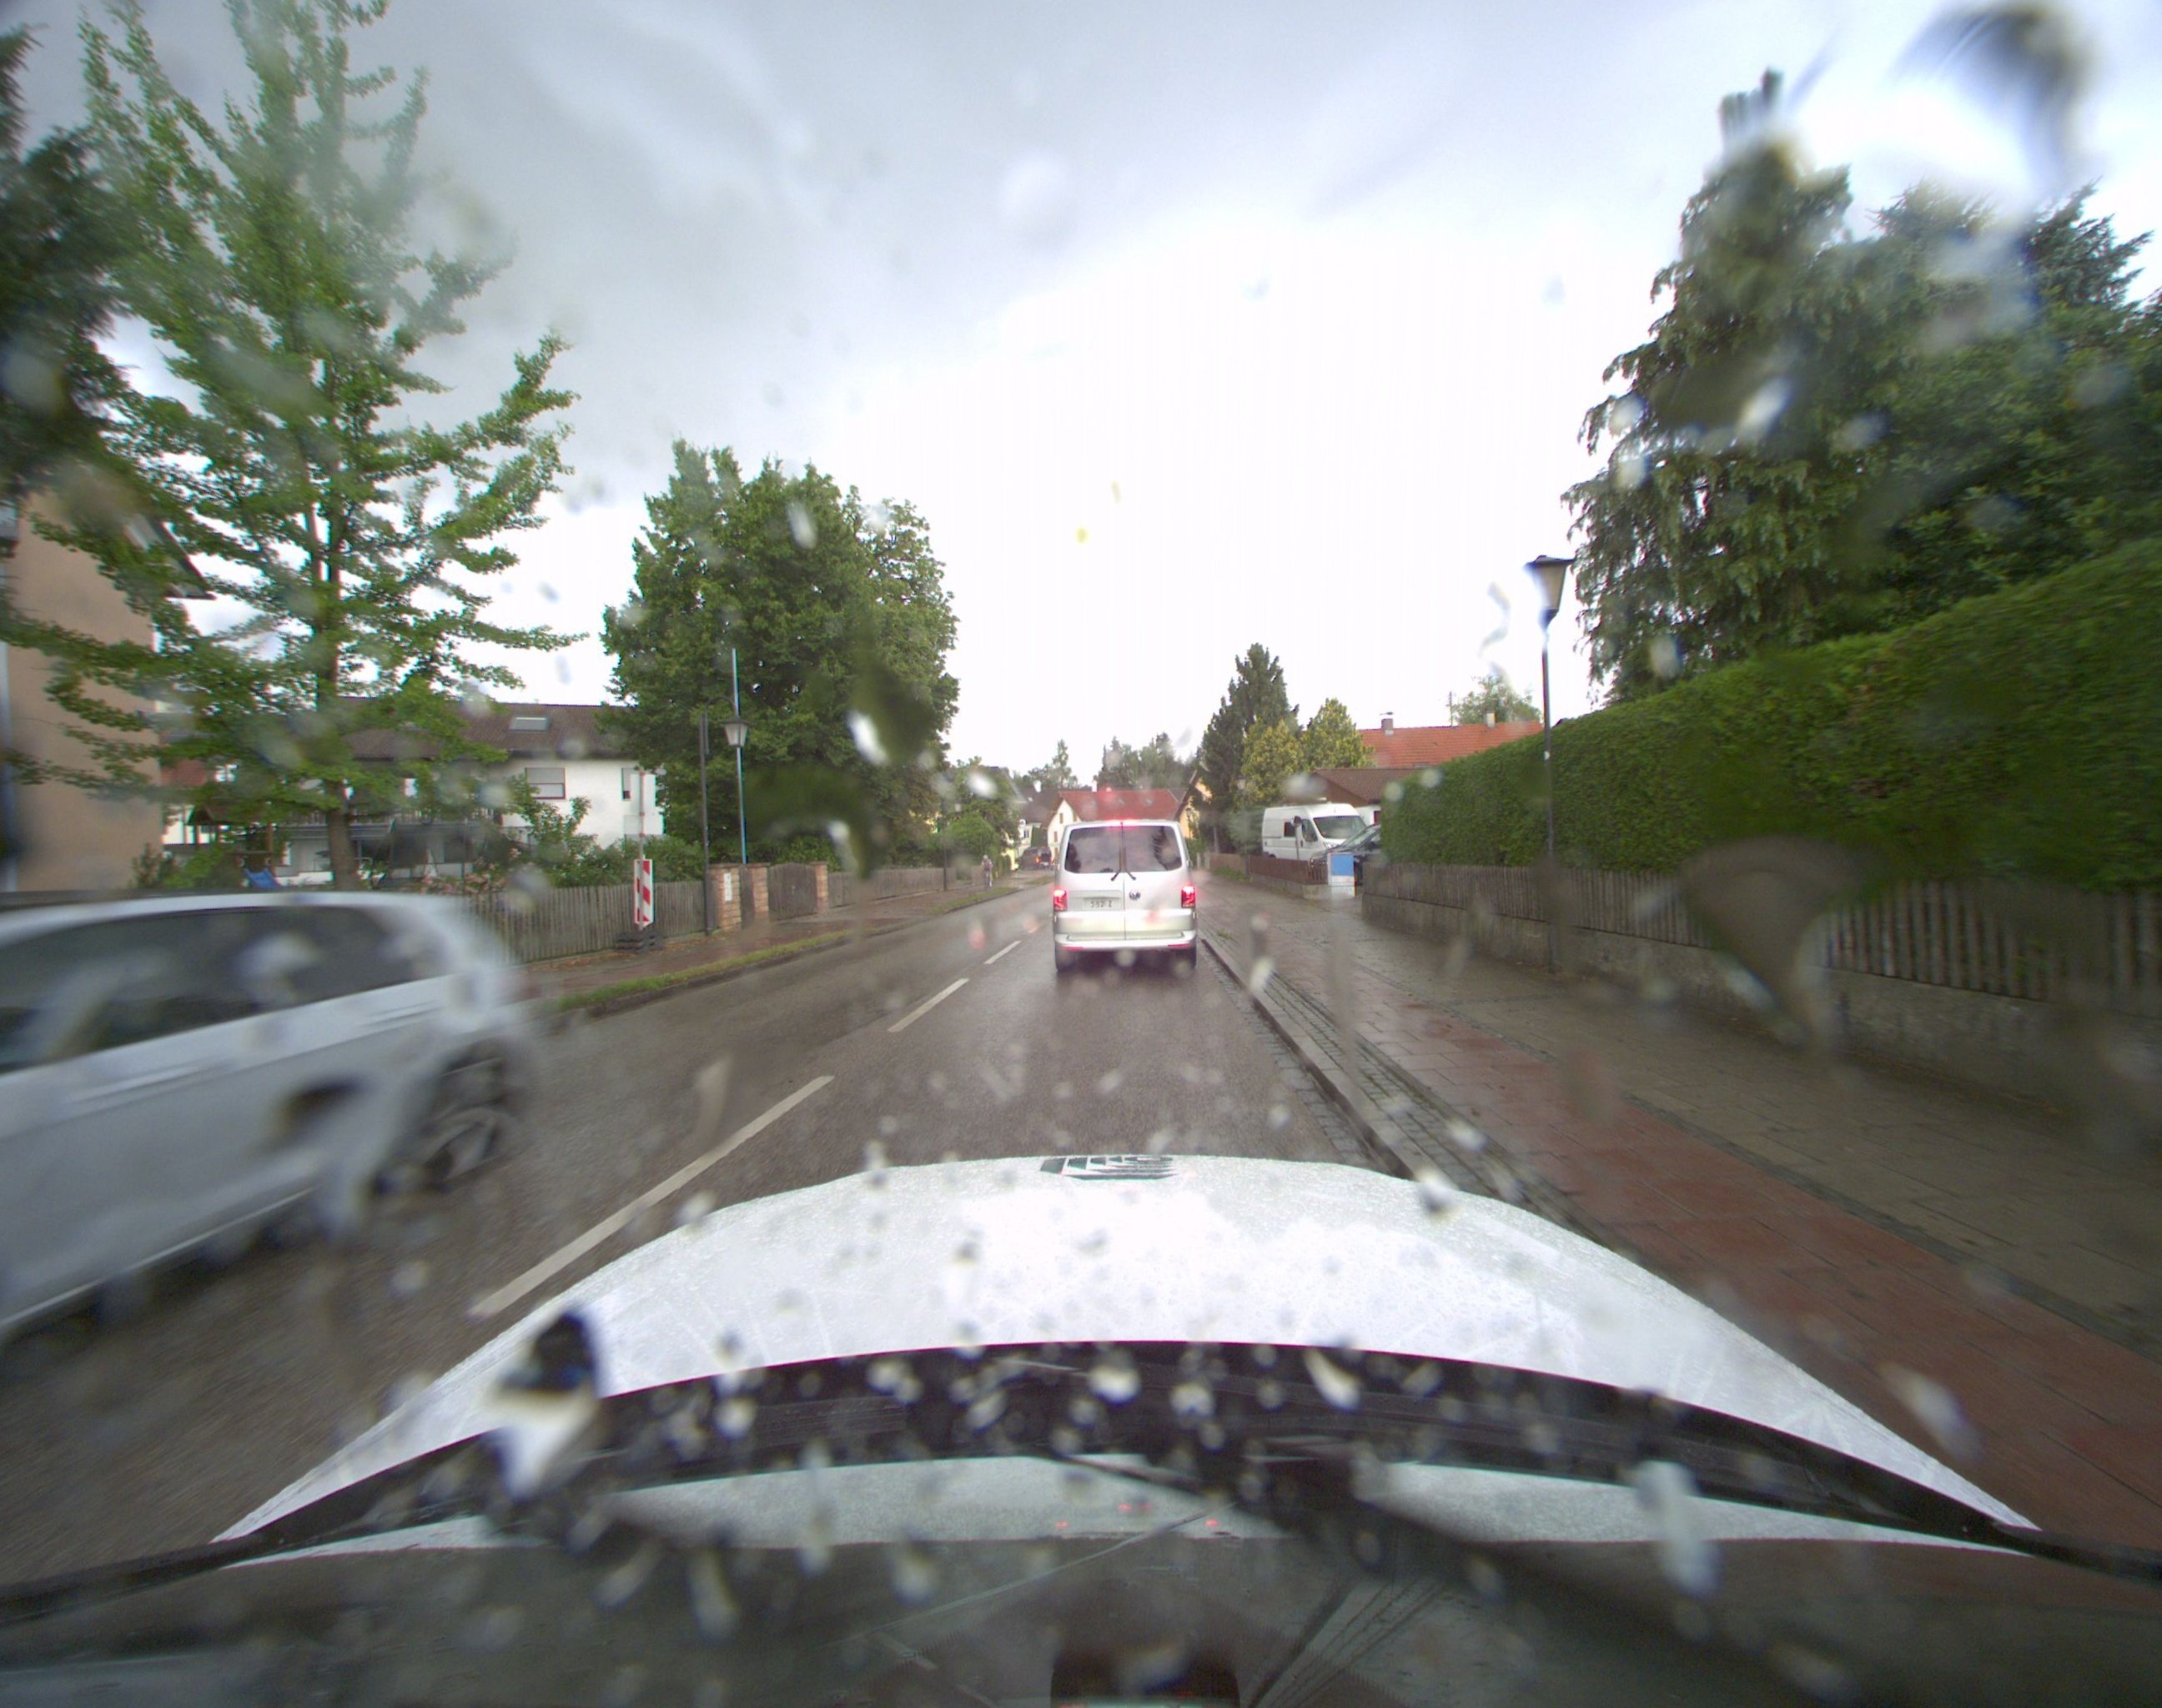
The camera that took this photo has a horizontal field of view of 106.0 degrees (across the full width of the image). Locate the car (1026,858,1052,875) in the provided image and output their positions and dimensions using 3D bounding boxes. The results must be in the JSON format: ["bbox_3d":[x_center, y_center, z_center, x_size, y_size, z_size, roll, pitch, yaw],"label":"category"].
[{"bbox_3d":[-5.007,1.472,97.071,2.000,1.927,3.973,0,-1,-20],"label":"car"}]

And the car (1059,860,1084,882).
[{"bbox_3d":[-0.745,1.306,63.611,1.822,1.558,4.174,-2,-1,-2],"label":"car"}]

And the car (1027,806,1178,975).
[{"bbox_3d":[0.445,0.465,11.739,1.792,2.014,4.006,0,-1,5],"label":"car"}]

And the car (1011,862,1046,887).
[{"bbox_3d":[-3.218,1.255,50.549,1.610,1.444,3.675,-1,-1,5],"label":"car"}]

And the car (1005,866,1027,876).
[{"bbox_3d":[-8.666,2.294,107.869,1.788,1.310,3.745,0,-1,-25],"label":"car"}]

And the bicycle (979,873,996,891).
[{"bbox_3d":[-4.408,1.305,38.526,0.454,0.798,1.978,-1,0,3],"label":"bicycle"}]

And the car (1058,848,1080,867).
[{"bbox_3d":[-1.329,0.443,89.922,1.992,2.014,3.990,0,-1,-7],"label":"car"}]

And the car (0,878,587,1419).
[{"bbox_3d":[-3.784,0.835,2.626,1.709,1.442,4.004,0,-1,4],"label":"car"}]

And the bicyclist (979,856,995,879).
[{"bbox_3d":[-4.431,0.632,38.555,0.585,1.021,1.061,-1,0,2],"label":"bicyclist"}]

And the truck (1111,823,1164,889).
[{"bbox_3d":[2.824,0.139,41.436,2.465,3.074,6.300,0,-1,3],"label":"truck"}]

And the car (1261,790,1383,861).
[{"bbox_3d":[8.134,-0.868,28.051,1.994,2.174,4.935,0,-1,-10],"label":"car"}]

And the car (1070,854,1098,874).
[{"bbox_3d":[0.279,1.020,81.924,1.996,2.014,3.982,0,-1,-13],"label":"car"}]

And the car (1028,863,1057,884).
[{"bbox_3d":[-2.640,1.338,56.766,1.611,1.444,3.673,-1,-1,3],"label":"car"}]

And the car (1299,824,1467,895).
[{"bbox_3d":[8.430,0.131,22.955,4.081,1.751,1.694,-2,2,-1],"label":"car"}]
